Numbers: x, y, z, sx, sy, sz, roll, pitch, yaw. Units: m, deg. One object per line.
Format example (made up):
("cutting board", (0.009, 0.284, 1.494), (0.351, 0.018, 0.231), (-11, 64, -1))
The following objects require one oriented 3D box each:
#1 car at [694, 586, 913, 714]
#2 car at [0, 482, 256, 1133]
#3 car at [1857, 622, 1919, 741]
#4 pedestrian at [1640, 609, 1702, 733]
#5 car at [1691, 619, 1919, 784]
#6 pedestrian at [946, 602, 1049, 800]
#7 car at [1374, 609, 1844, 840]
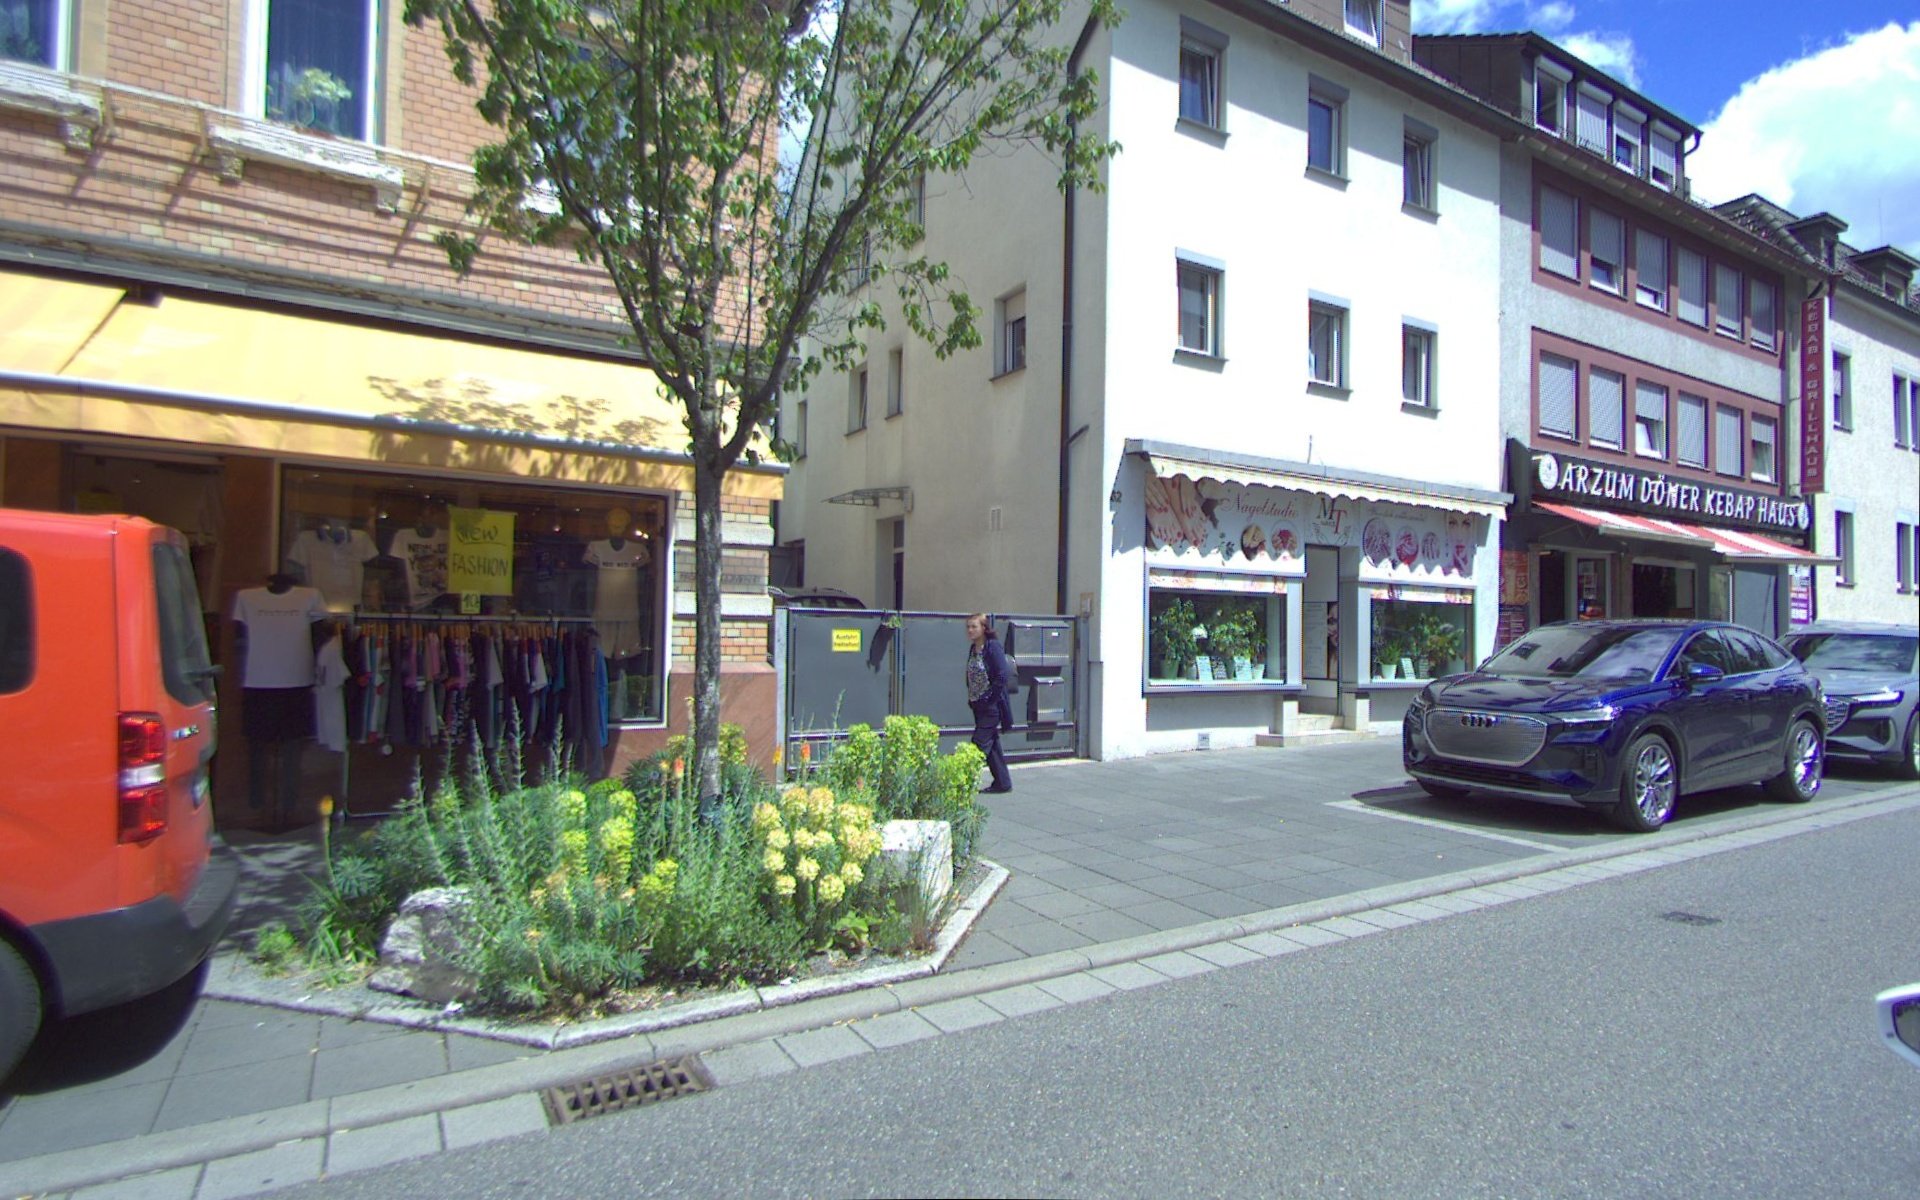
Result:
("car", (-2.522, 0.679, 15.319), (1.977, 1.661, 3.968), (2, -1, -30))
("car", (-4.894, 0.543, 2.679), (4.789, 1.913, 1.806), (2, -1, -33))
("car", (14.930, 1.149, 14.581), (4.172, 1.625, 1.789), (1, -2, -33))
("pedestrian", (9.846, 0.969, 13.914), (0.568, 1.670, 0.499), (2, -1, -31))
("car", (10.590, 1.071, 11.873), (4.306, 1.625, 1.789), (1, -2, -34))
("pedestrian", (0.323, 0.859, 8.841), (0.654, 1.654, 0.586), (2, -1, -30))
("car", (5.870, 0.933, 8.964), (4.337, 1.619, 1.791), (1, -1, -30))
